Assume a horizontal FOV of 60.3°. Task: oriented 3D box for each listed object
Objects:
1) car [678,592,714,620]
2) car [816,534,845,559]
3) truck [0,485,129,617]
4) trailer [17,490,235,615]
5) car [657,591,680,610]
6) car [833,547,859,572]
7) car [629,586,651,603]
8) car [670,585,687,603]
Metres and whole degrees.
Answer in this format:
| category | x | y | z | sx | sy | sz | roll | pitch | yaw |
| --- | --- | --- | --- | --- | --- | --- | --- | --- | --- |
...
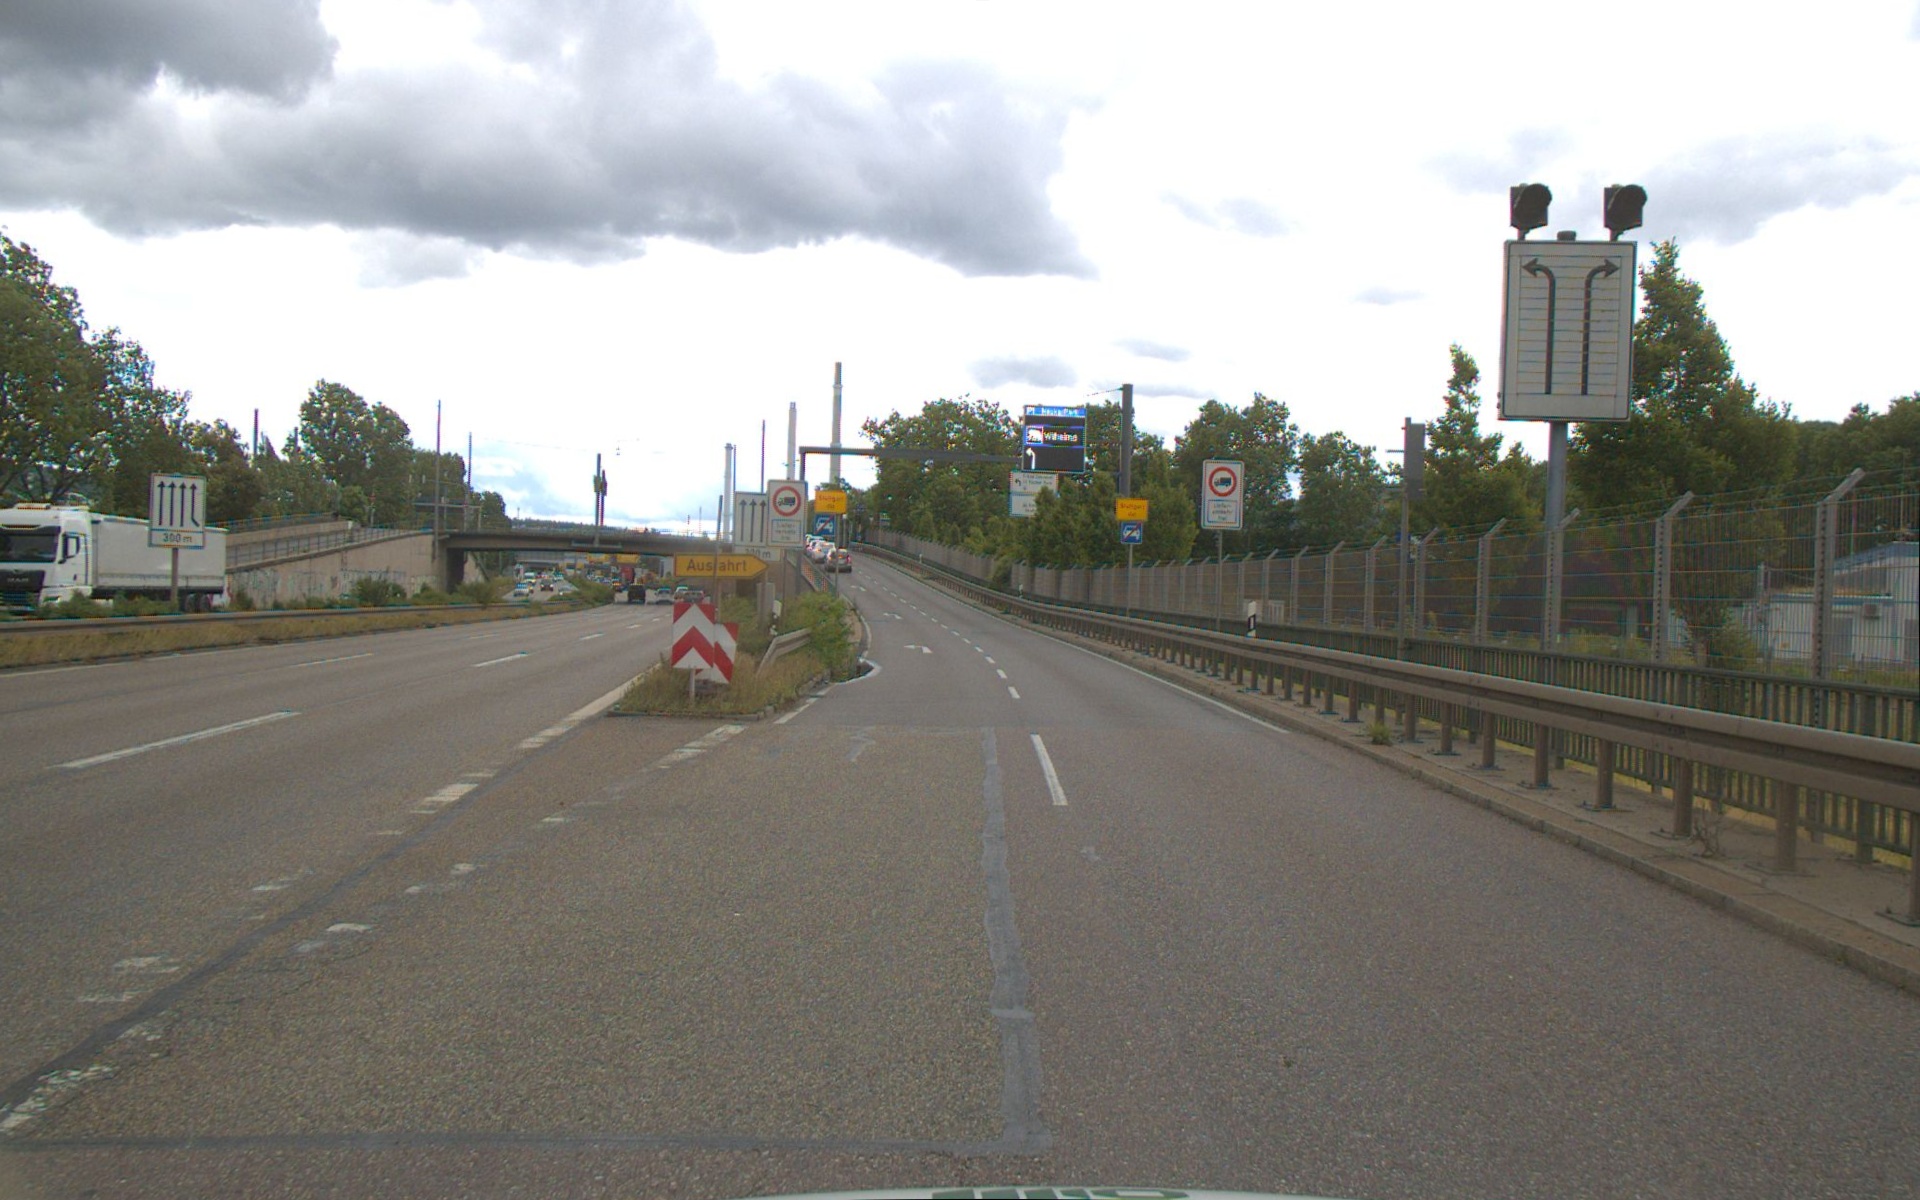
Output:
| category | x | y | z | sx | sy | sz | roll | pitch | yaw |
| --- | --- | --- | --- | --- | --- | --- | --- | --- | --- |
| car | -16.176 | 0.359 | 101.186 | 1.958 | 1.444 | 3.989 | 2 | 2 | -12 |
| car | -10.063 | -4.155 | 127.982 | 1.956 | 1.630 | 3.995 | 0 | 5 | -9 |
| truck | -29.404 | -1.546 | 53.540 | 2.737 | 4.005 | 5.304 | 2 | 0 | -8 |
| trailer | -30.401 | -1.645 | 61.170 | 2.737 | 4.017 | 13.491 | 2 | 0 | -8 |
| car | -29.256 | 0.007 | 166.145 | 1.955 | 1.713 | 3.996 | 2 | 2 | -6 |
| car | -8.061 | -2.868 | 116.874 | 1.715 | 1.608 | 4.082 | 3 | 0 | -4 |
| car | -34.611 | -0.603 | 178.893 | 1.955 | 1.713 | 3.996 | 2 | 2 | -6 |
| car | -34.361 | -0.686 | 202.077 | 1.883 | 2.048 | 3.991 | 3 | 0 | -10 |
